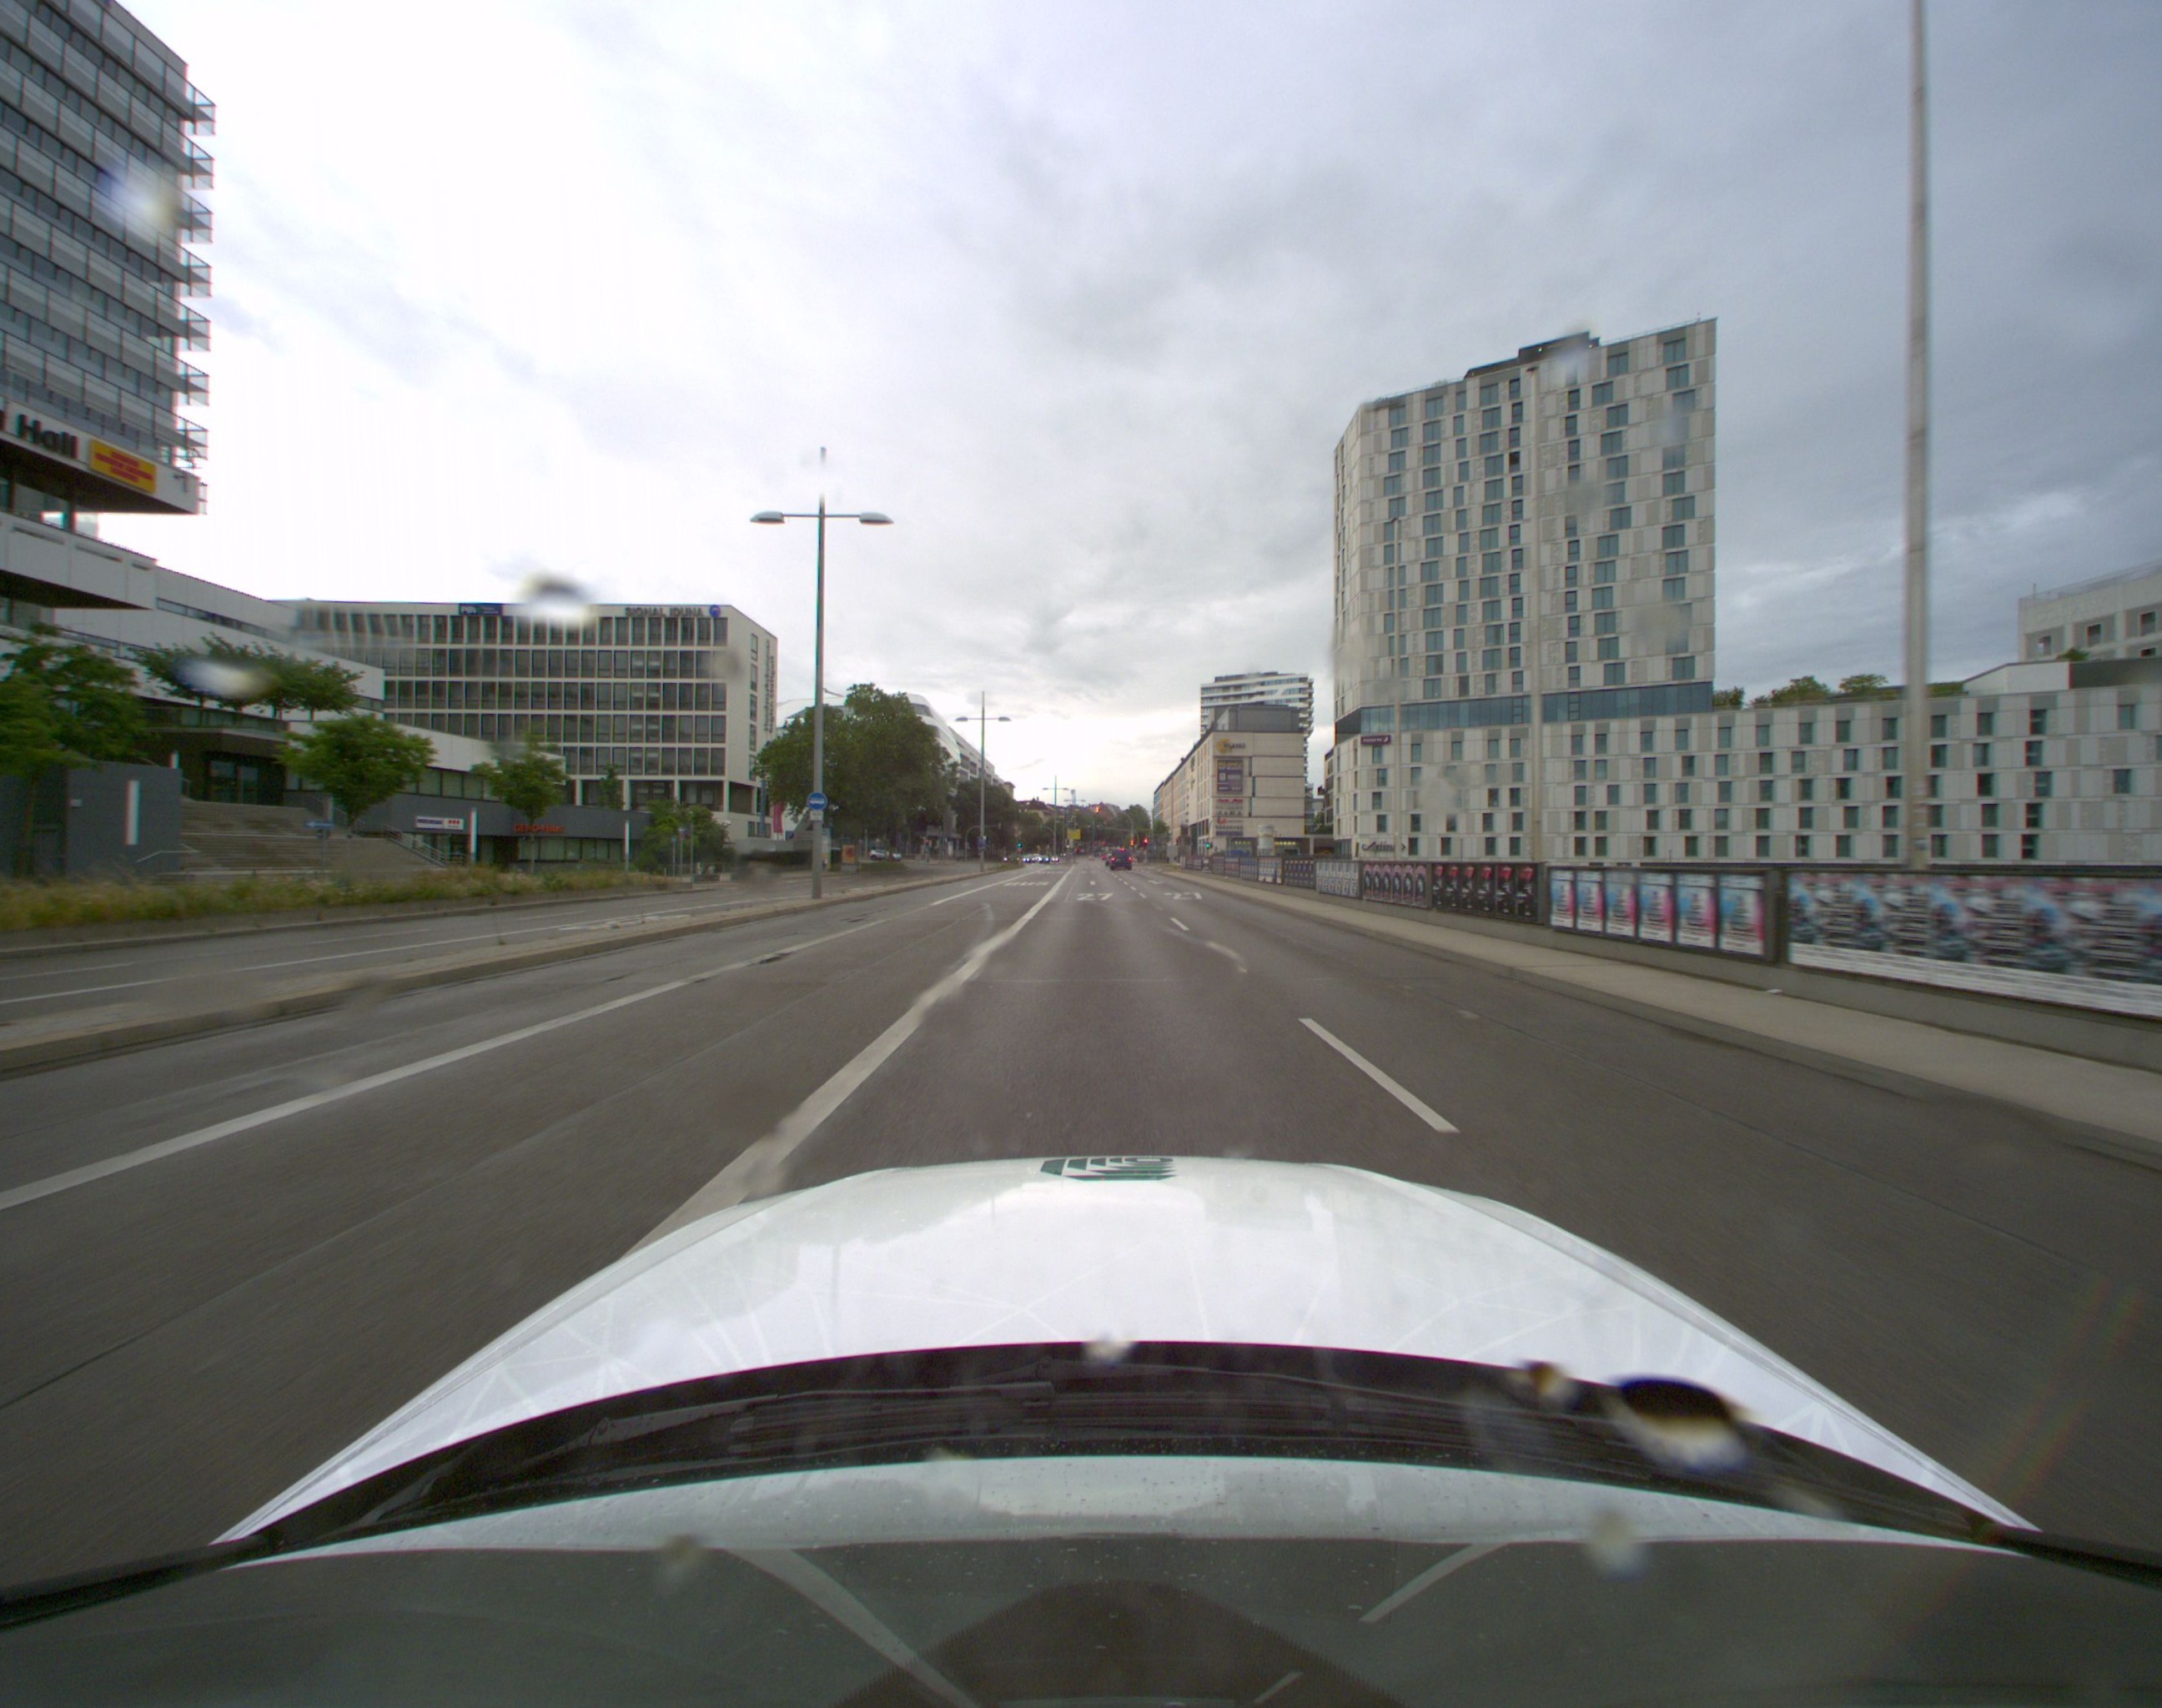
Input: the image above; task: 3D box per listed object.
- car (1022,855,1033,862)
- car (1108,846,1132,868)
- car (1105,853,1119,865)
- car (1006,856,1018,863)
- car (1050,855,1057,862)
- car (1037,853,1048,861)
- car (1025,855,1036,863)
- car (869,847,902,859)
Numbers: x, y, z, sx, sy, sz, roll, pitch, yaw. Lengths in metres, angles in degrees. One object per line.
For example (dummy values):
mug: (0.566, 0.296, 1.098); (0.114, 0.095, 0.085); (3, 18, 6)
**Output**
car: (-9.715, 0.783, 148.441); (1.737, 1.257, 3.540); (0, 0, 1)
car: (3.639, 0.253, 76.781); (2.026, 1.882, 5.043); (-3, 1, 1)
car: (3.850, 0.628, 101.482); (1.734, 1.531, 3.814); (-1, -1, 1)
car: (-12.549, 1.001, 147.928); (1.737, 1.328, 4.225); (-1, -1, 1)
car: (-6.155, 0.938, 181.698); (1.533, 1.477, 3.696); (-1, -1, 1)
car: (-6.949, 0.492, 147.214); (1.737, 1.444, 3.395); (-1, -1, 1)
car: (-9.609, 0.940, 155.407); (1.737, 1.559, 3.539); (-1, -1, 1)
car: (-29.013, -0.110, 120.803); (4.467, 1.631, 1.903); (-1, -1, 16)
